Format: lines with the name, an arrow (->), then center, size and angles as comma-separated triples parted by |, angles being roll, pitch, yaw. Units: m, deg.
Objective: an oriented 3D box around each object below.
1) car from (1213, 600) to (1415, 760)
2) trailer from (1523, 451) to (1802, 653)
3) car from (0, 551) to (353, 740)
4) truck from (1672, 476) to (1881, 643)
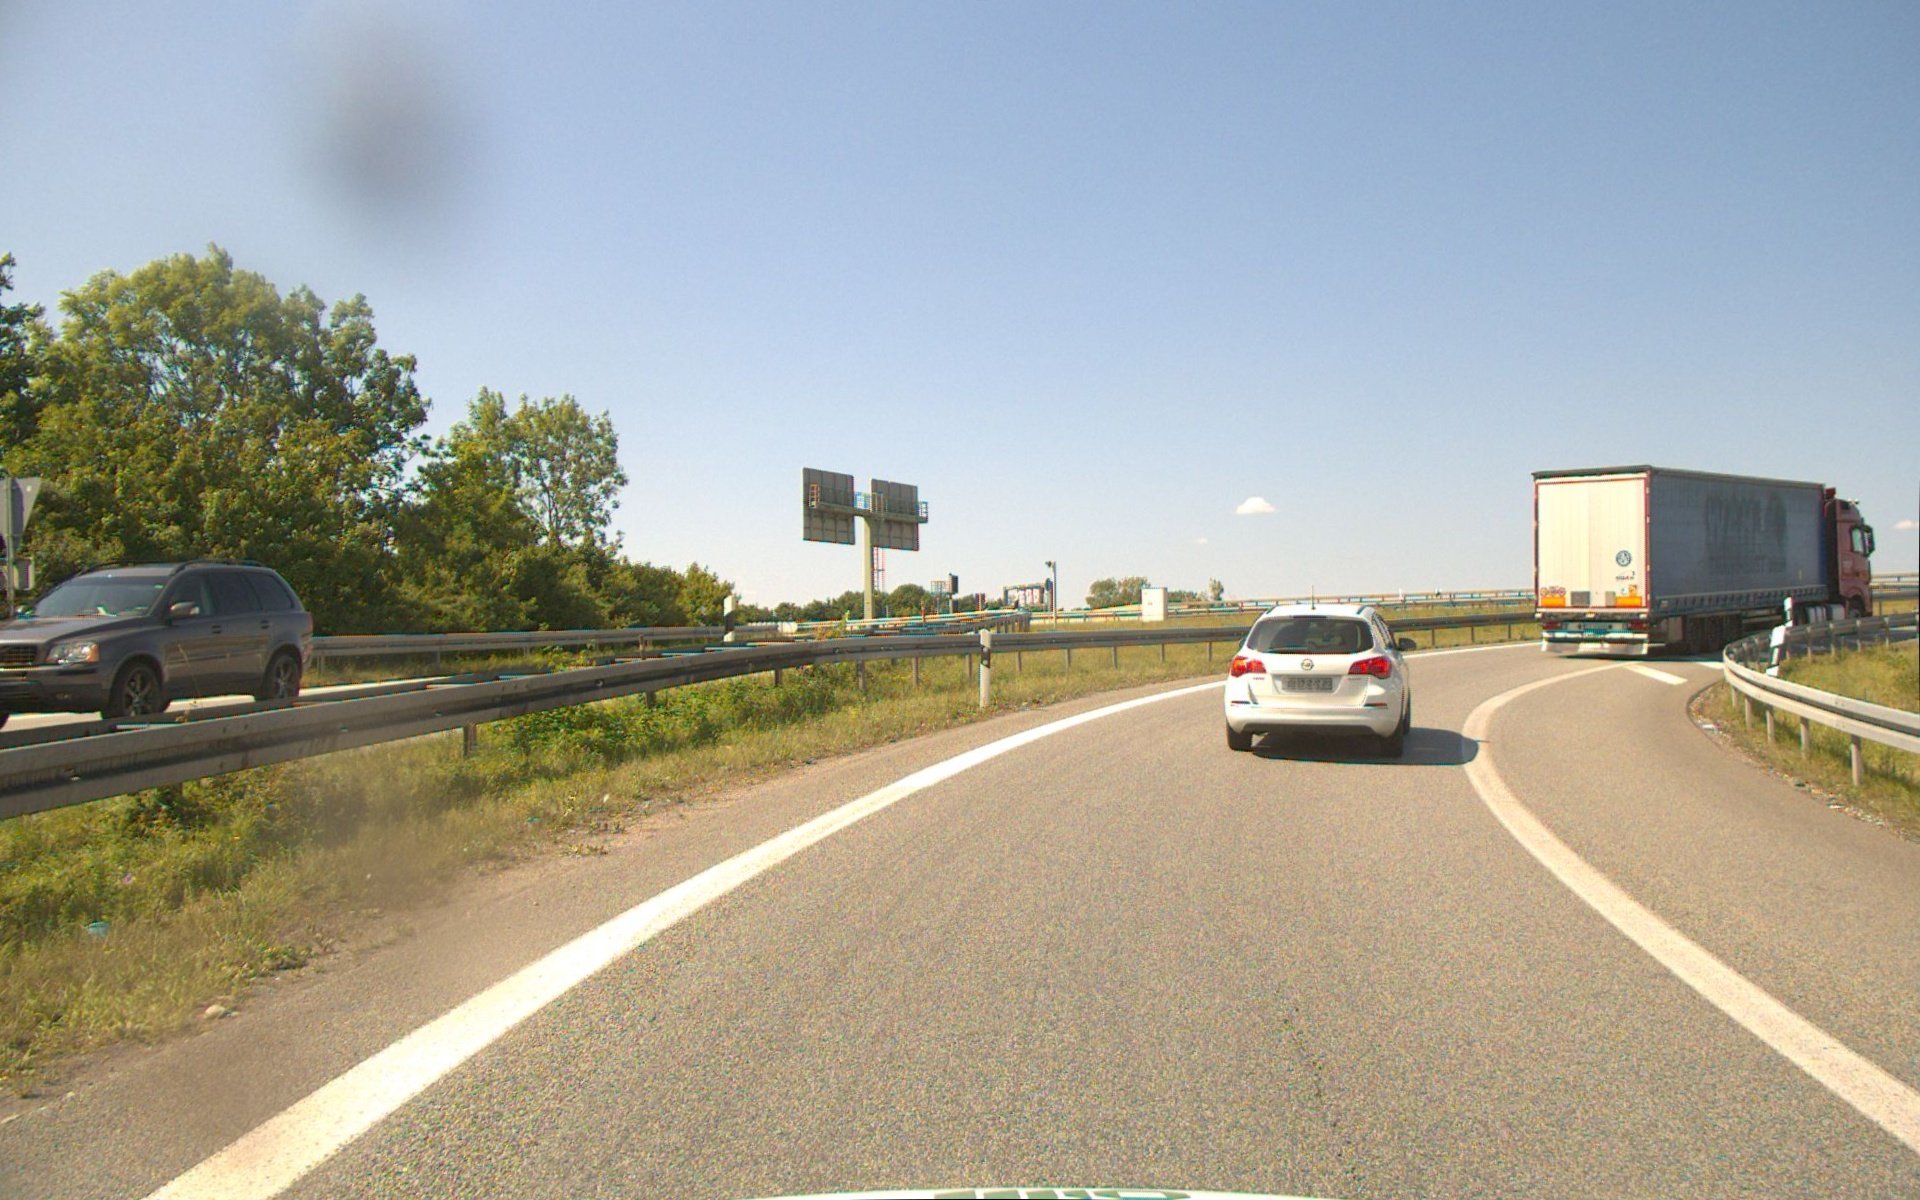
car -> 3.945, 0.755, 17.909 | 1.815, 1.468, 4.375 | 0, 0, 16
trailer -> 17.160, -1.091, 39.743 | 2.869, 4.217, 11.195 | -1, 0, 41
car -> -8.864, 0.418, 18.157 | 1.951, 1.761, 5.201 | 0, 0, 7
truck -> 22.477, -1.076, 45.358 | 6.870, 4.217, 2.876 | -1, 0, -43
